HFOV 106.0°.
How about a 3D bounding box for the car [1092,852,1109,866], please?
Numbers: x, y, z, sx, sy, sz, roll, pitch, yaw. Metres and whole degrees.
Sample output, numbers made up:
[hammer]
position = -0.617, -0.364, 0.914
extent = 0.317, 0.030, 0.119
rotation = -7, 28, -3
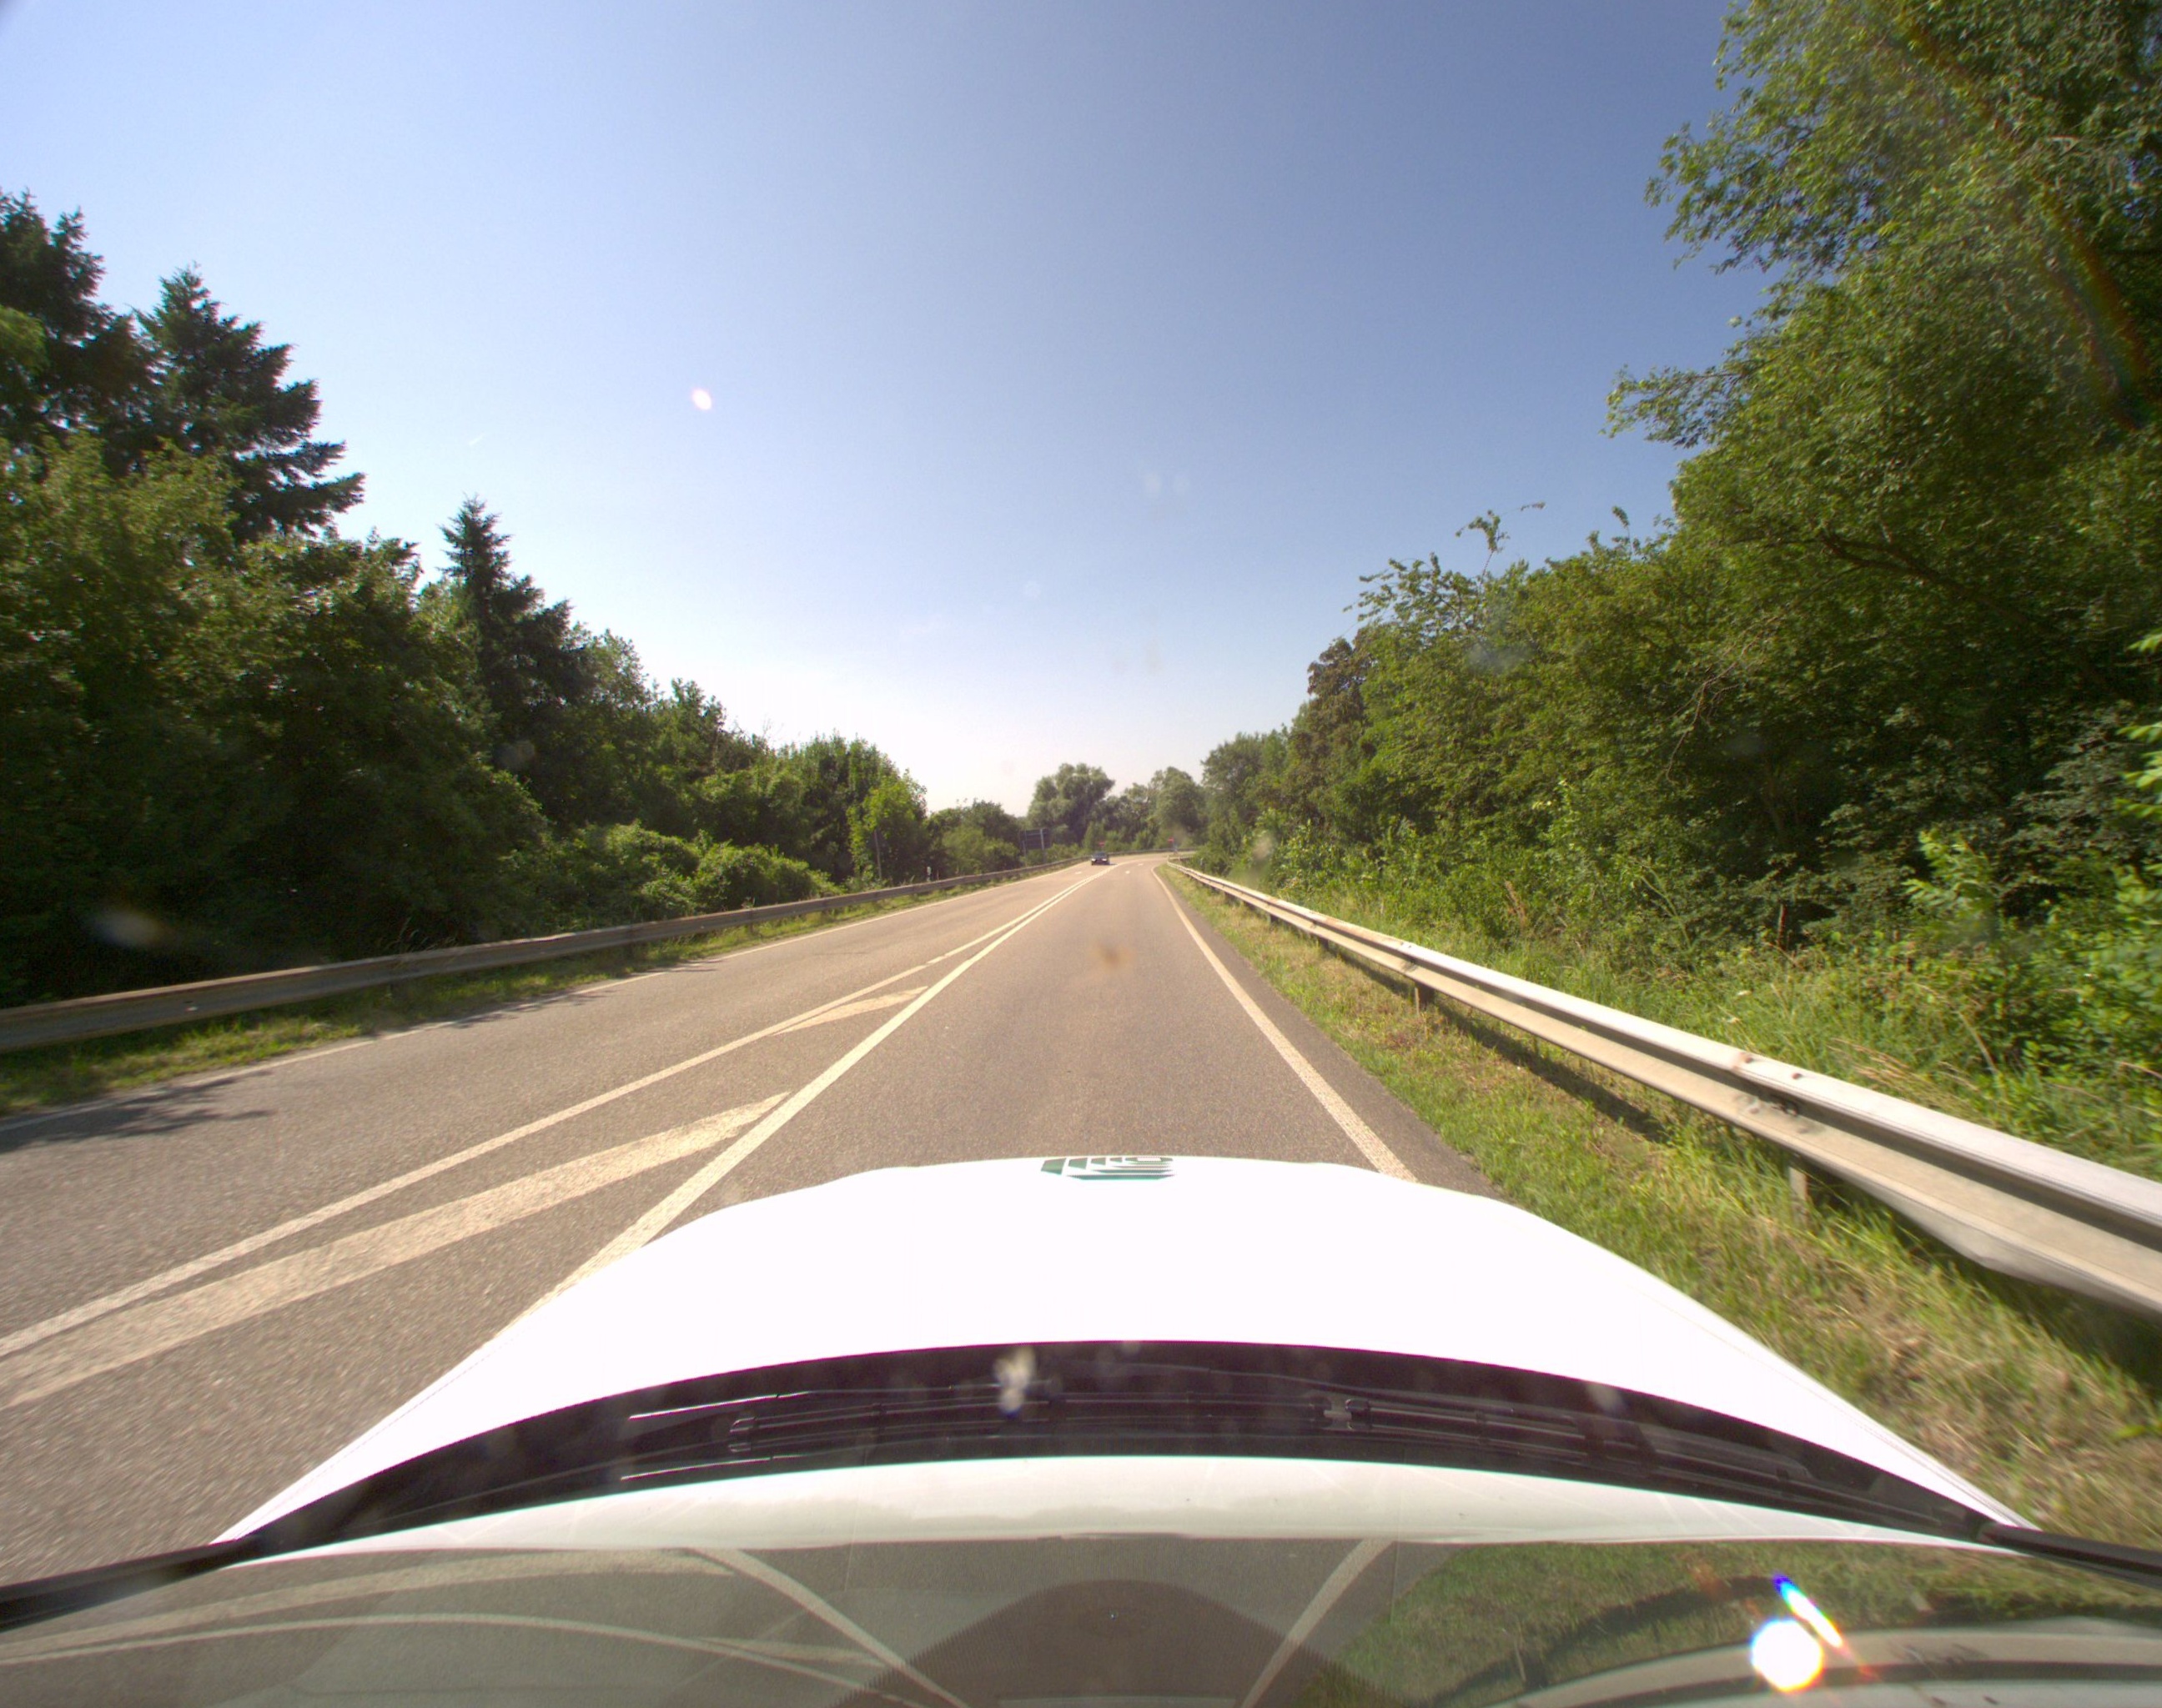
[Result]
[car]
position = 2.143, 0.575, 89.970
extent = 1.600, 1.473, 4.225
rotation = -2, 0, 4
